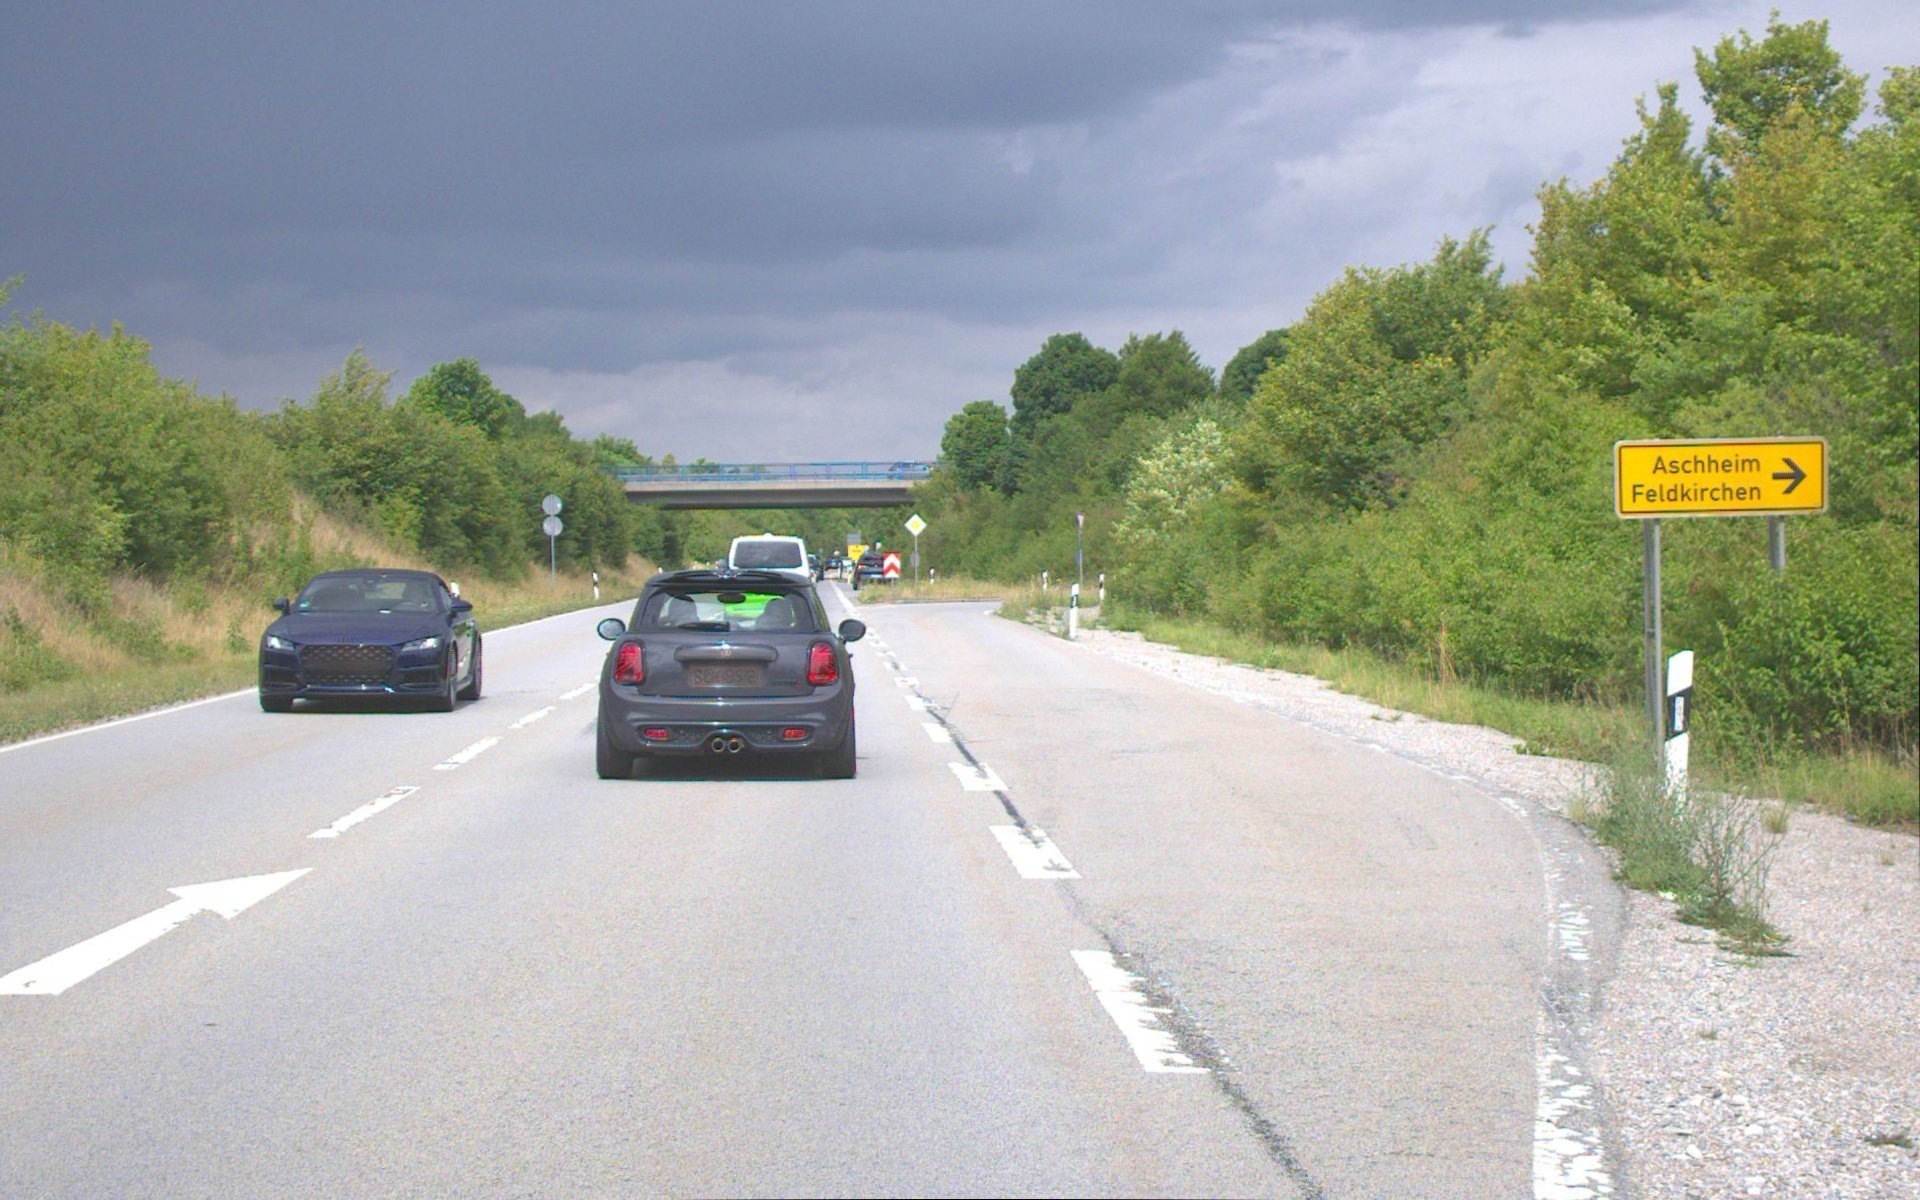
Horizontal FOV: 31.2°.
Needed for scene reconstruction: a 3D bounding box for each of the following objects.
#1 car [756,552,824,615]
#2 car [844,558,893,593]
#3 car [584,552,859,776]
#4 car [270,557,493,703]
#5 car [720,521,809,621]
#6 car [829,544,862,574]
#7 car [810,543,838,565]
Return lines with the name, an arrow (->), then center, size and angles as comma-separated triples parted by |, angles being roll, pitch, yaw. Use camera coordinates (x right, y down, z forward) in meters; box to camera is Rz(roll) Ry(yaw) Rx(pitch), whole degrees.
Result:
car -> -4.857, -0.501, 98.637 | 1.818, 1.744, 4.000 | 1, 1, -1
car -> -4.223, -1.115, 157.754 | 1.993, 1.546, 4.001 | 1, 1, -4
car -> -1.635, 0.387, 24.299 | 1.756, 1.422, 4.001 | 1, 1, -3
car -> -5.632, 0.254, 33.883 | 1.700, 1.326, 4.001 | -1, 1, -3
car -> -4.155, -0.633, 73.606 | 1.819, 2.047, 4.001 | 1, 1, -3
car -> -6.741, -2.428, 202.221 | 1.780, 1.700, 4.001 | 1, 1, -4
car -> -8.837, -3.005, 223.450 | 1.667, 1.398, 4.000 | 1, 1, 0
